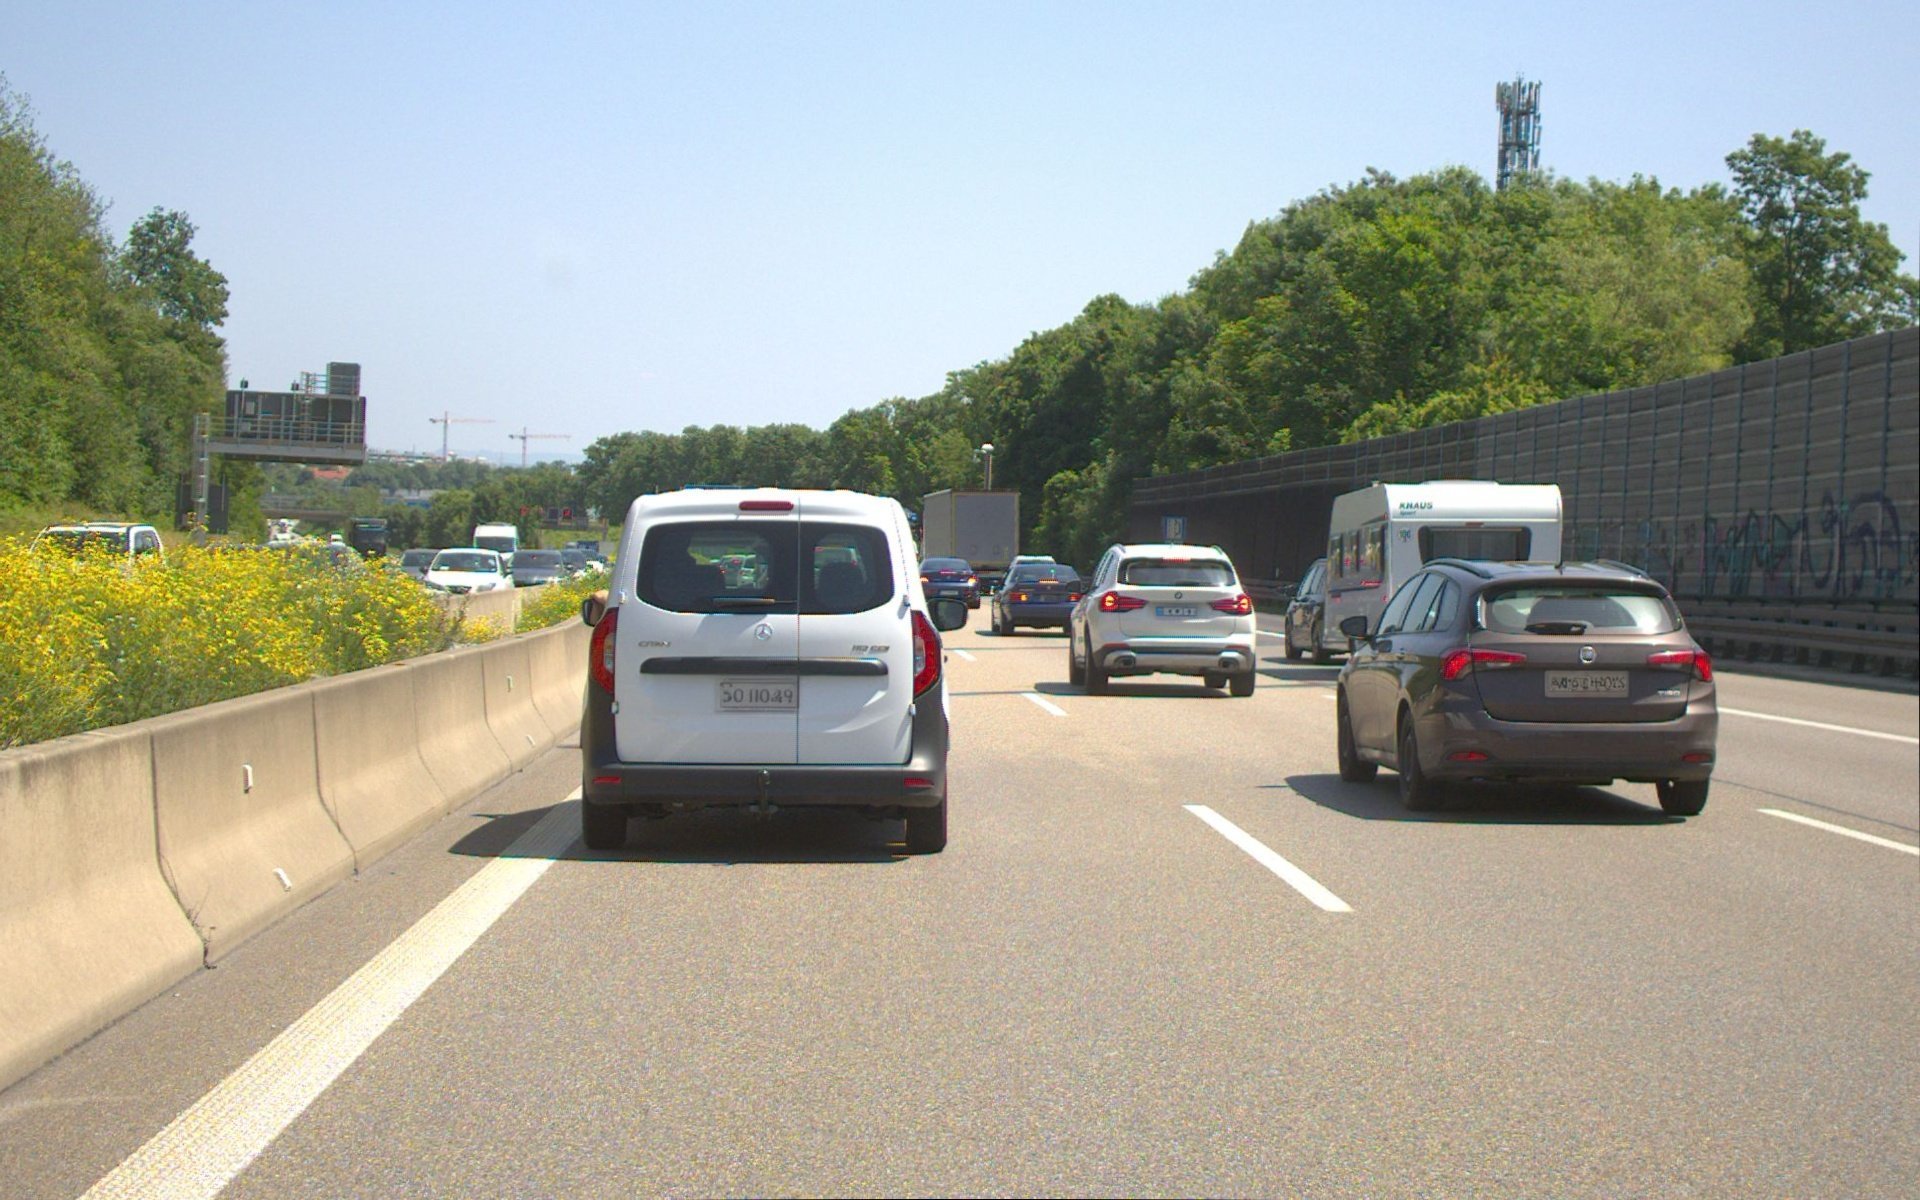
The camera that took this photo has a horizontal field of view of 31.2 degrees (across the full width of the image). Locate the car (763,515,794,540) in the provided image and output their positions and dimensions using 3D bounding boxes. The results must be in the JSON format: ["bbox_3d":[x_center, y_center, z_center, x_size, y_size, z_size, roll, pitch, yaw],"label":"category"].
[{"bbox_3d":[-13.129,-5.241,248.401,1.993,1.722,4.001,1,1,-6],"label":"car"}]

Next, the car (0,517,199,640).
[{"bbox_3d":[-12.797,-0.342,51.061,1.993,1.696,4.530,1,1,-1],"label":"car"}]

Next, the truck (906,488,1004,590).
[{"bbox_3d":[-0.262,-2.468,141.044,3.081,3.972,9.648,1,1,-5],"label":"truck"}]

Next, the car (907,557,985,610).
[{"bbox_3d":[-0.410,-0.475,95.533,1.824,1.419,4.001,1,1,-5],"label":"car"}]

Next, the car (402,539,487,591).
[{"bbox_3d":[-14.467,-0.996,96.665,1.842,1.415,4.234,1,1,-2],"label":"car"}]

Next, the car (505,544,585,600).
[{"bbox_3d":[-10.741,-0.737,89.201,1.731,1.400,4.612,0,1,-3],"label":"car"}]

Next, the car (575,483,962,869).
[{"bbox_3d":[-0.939,0.334,18.221,1.802,1.802,4.000,1,1,-1],"label":"car"}]

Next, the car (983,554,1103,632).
[{"bbox_3d":[1.562,-0.149,65.752,1.824,1.419,4.001,1,1,-5],"label":"car"}]

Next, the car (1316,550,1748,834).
[{"bbox_3d":[3.403,0.480,21.283,1.838,1.508,4.402,1,1,-1],"label":"car"}]

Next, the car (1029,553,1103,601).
[{"bbox_3d":[3.288,-0.739,107.321,1.824,1.419,4.001,1,1,-5],"label":"car"}]

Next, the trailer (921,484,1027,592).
[{"bbox_3d":[0.451,-2.374,133.308,3.081,3.972,10.325,1,1,-5],"label":"trailer"}]

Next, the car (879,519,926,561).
[{"bbox_3d":[-2.833,-2.917,167.686,1.993,2.007,4.001,1,1,-5],"label":"car"}]

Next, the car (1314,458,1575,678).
[{"bbox_3d":[6.500,-0.438,46.987,2.478,2.756,6.220,1,1,-2],"label":"car"}]

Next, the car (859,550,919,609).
[{"bbox_3d":[-2.513,-0.729,121.150,1.824,1.982,4.001,-1,1,-5],"label":"car"}]

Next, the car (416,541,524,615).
[{"bbox_3d":[-9.890,-0.460,69.562,1.632,1.423,4.036,1,1,-1],"label":"car"}]

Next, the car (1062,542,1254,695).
[{"bbox_3d":[2.205,0.167,39.223,1.871,1.603,3.879,1,1,-1],"label":"car"}]

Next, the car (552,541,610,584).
[{"bbox_3d":[-12.871,-1.288,116.893,1.665,1.423,3.857,1,1,-2],"label":"car"}]

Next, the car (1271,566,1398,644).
[{"bbox_3d":[7.159,0.073,66.060,1.824,1.419,4.000,1,1,-2],"label":"car"}]

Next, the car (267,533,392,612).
[{"bbox_3d":[-12.814,-0.570,70.056,1.842,1.541,4.000,1,1,-1],"label":"car"}]
